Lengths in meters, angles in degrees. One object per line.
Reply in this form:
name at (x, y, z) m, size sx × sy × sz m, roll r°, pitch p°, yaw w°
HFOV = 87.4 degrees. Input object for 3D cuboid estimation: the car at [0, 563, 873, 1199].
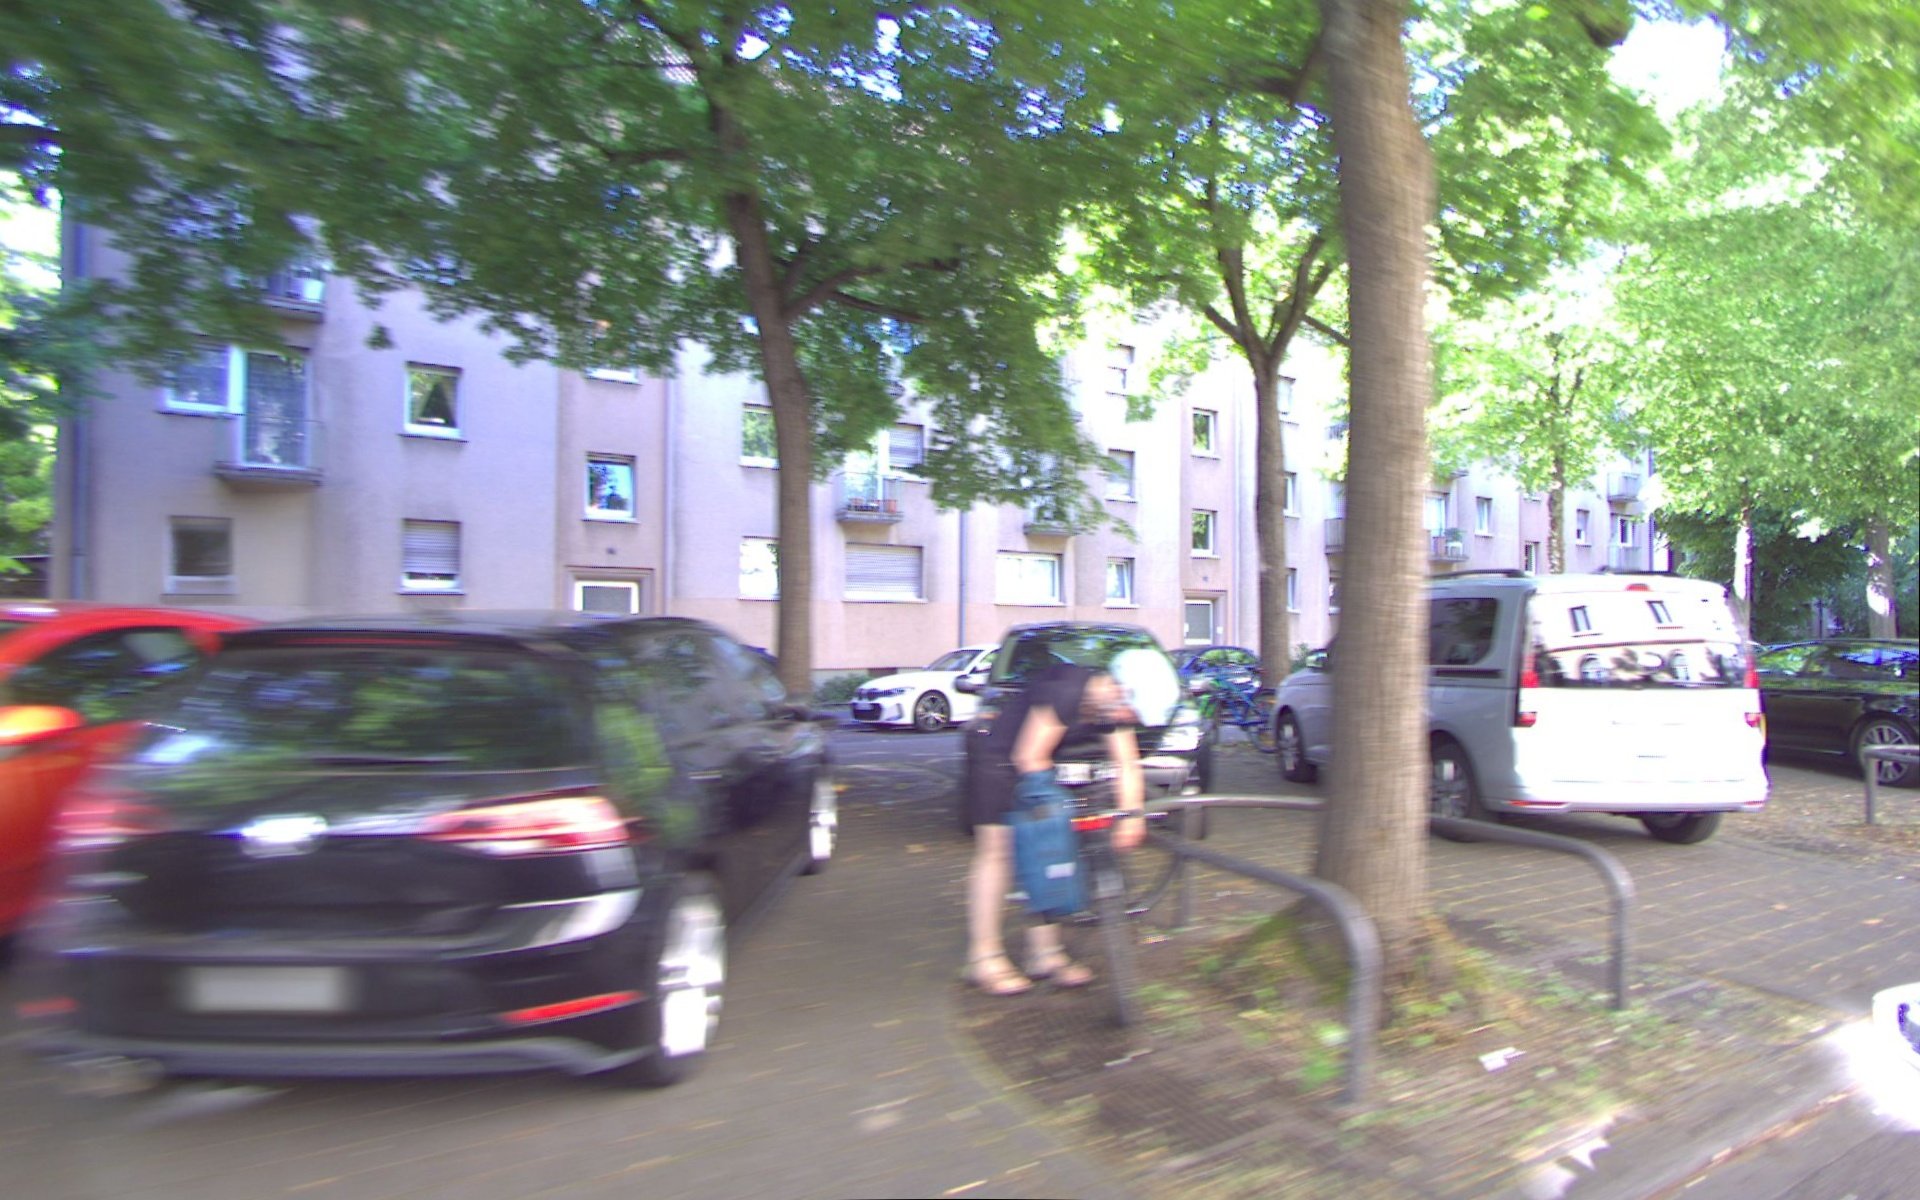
car at (-1.473, 0.740, 4.394) m, size 1.699 × 1.526 × 4.109 m, roll 1°, pitch -1°, yaw 2°

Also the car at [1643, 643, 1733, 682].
car at (29.264, 2.479, 40.349) m, size 3.569 × 1.501 × 1.617 m, roll 1°, pitch -2°, yaw -30°

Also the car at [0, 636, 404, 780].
car at (-9.084, 1.174, 11.784) m, size 4.303 × 1.453 × 1.752 m, roll 2°, pitch -4°, yaw -37°

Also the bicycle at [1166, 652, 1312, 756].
bicycle at (3.405, 1.239, 12.444) m, size 0.513 × 1.151 × 1.928 m, roll 1°, pitch -2°, yaw -31°

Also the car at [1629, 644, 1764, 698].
car at (22.307, 2.100, 30.397) m, size 4.259 × 1.528 × 1.755 m, roll 1°, pitch -2°, yaw -31°

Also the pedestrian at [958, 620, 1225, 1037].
pedestrian at (0.462, 0.791, 3.825) m, size 0.910 × 1.415 × 0.753 m, roll 0°, pitch -2°, yaw 2°

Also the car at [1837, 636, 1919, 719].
car at (17.914, 1.414, 17.528) m, size 1.787 × 1.421 × 4.044 m, roll 1°, pitch 0°, yaw 3°

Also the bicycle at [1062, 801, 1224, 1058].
bicycle at (0.680, 1.237, 4.093) m, size 0.401 × 0.566 × 1.615 m, roll 0°, pitch -2°, yaw 1°

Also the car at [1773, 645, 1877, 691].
car at (30.379, 2.336, 35.260) m, size 3.725 × 1.519 × 1.656 m, roll 1°, pitch -2°, yaw -30°

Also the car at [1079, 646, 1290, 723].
car at (4.545, 1.638, 20.247) m, size 3.953 × 1.405 × 1.883 m, roll 2°, pitch -3°, yaw -31°

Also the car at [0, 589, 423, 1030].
car at (-4.199, 0.726, 4.046) m, size 1.811 × 1.522 × 4.001 m, roll 1°, pitch -1°, yaw 2°

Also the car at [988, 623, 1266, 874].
car at (1.087, 0.906, 7.735) m, size 1.591 × 1.424 × 3.804 m, roll 1°, pitch -1°, yaw 4°

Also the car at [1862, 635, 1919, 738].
car at (14.750, 1.240, 13.351) m, size 1.682 × 1.481 × 4.426 m, roll 1°, pitch -2°, yaw 3°

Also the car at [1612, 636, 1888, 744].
car at (12.202, 1.310, 15.850) m, size 1.781 × 1.474 × 3.636 m, roll 0°, pitch -2°, yaw 7°

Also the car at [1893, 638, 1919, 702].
car at (23.669, 1.625, 22.848) m, size 1.722 × 1.527 × 3.546 m, roll 0°, pitch -2°, yaw 4°

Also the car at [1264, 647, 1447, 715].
car at (9.040, 1.792, 22.923) m, size 3.953 × 1.405 × 1.883 m, roll 2°, pitch -2°, yaw -31°

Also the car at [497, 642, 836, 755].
car at (-4.195, 1.343, 14.653) m, size 4.484 × 1.424 × 1.610 m, roll 2°, pitch -2°, yaw -32°

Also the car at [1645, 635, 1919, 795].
car at (9.806, 1.127, 10.929) m, size 1.752 × 1.474 × 4.491 m, roll 0°, pitch -2°, yaw 2°

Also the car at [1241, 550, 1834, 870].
car at (4.124, 0.722, 8.280) m, size 2.041 × 1.889 × 4.521 m, roll 1°, pitch -1°, yaw -5°

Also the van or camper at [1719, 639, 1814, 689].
van or camper at (26.569, 2.070, 33.089) m, size 2.666 × 1.575 × 1.589 m, roll 1°, pitch -2°, yaw -30°

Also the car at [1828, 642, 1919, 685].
car at (34.770, 2.378, 38.116) m, size 3.725 × 1.519 × 1.656 m, roll 1°, pitch -2°, yaw -30°

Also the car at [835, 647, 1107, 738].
car at (0.258, 1.523, 17.458) m, size 4.566 × 1.411 × 1.718 m, roll 2°, pitch -3°, yaw -32°

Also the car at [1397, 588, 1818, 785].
car at (7.195, 0.927, 11.908) m, size 1.979 × 1.856 × 4.607 m, roll 1°, pitch -3°, yaw -1°
